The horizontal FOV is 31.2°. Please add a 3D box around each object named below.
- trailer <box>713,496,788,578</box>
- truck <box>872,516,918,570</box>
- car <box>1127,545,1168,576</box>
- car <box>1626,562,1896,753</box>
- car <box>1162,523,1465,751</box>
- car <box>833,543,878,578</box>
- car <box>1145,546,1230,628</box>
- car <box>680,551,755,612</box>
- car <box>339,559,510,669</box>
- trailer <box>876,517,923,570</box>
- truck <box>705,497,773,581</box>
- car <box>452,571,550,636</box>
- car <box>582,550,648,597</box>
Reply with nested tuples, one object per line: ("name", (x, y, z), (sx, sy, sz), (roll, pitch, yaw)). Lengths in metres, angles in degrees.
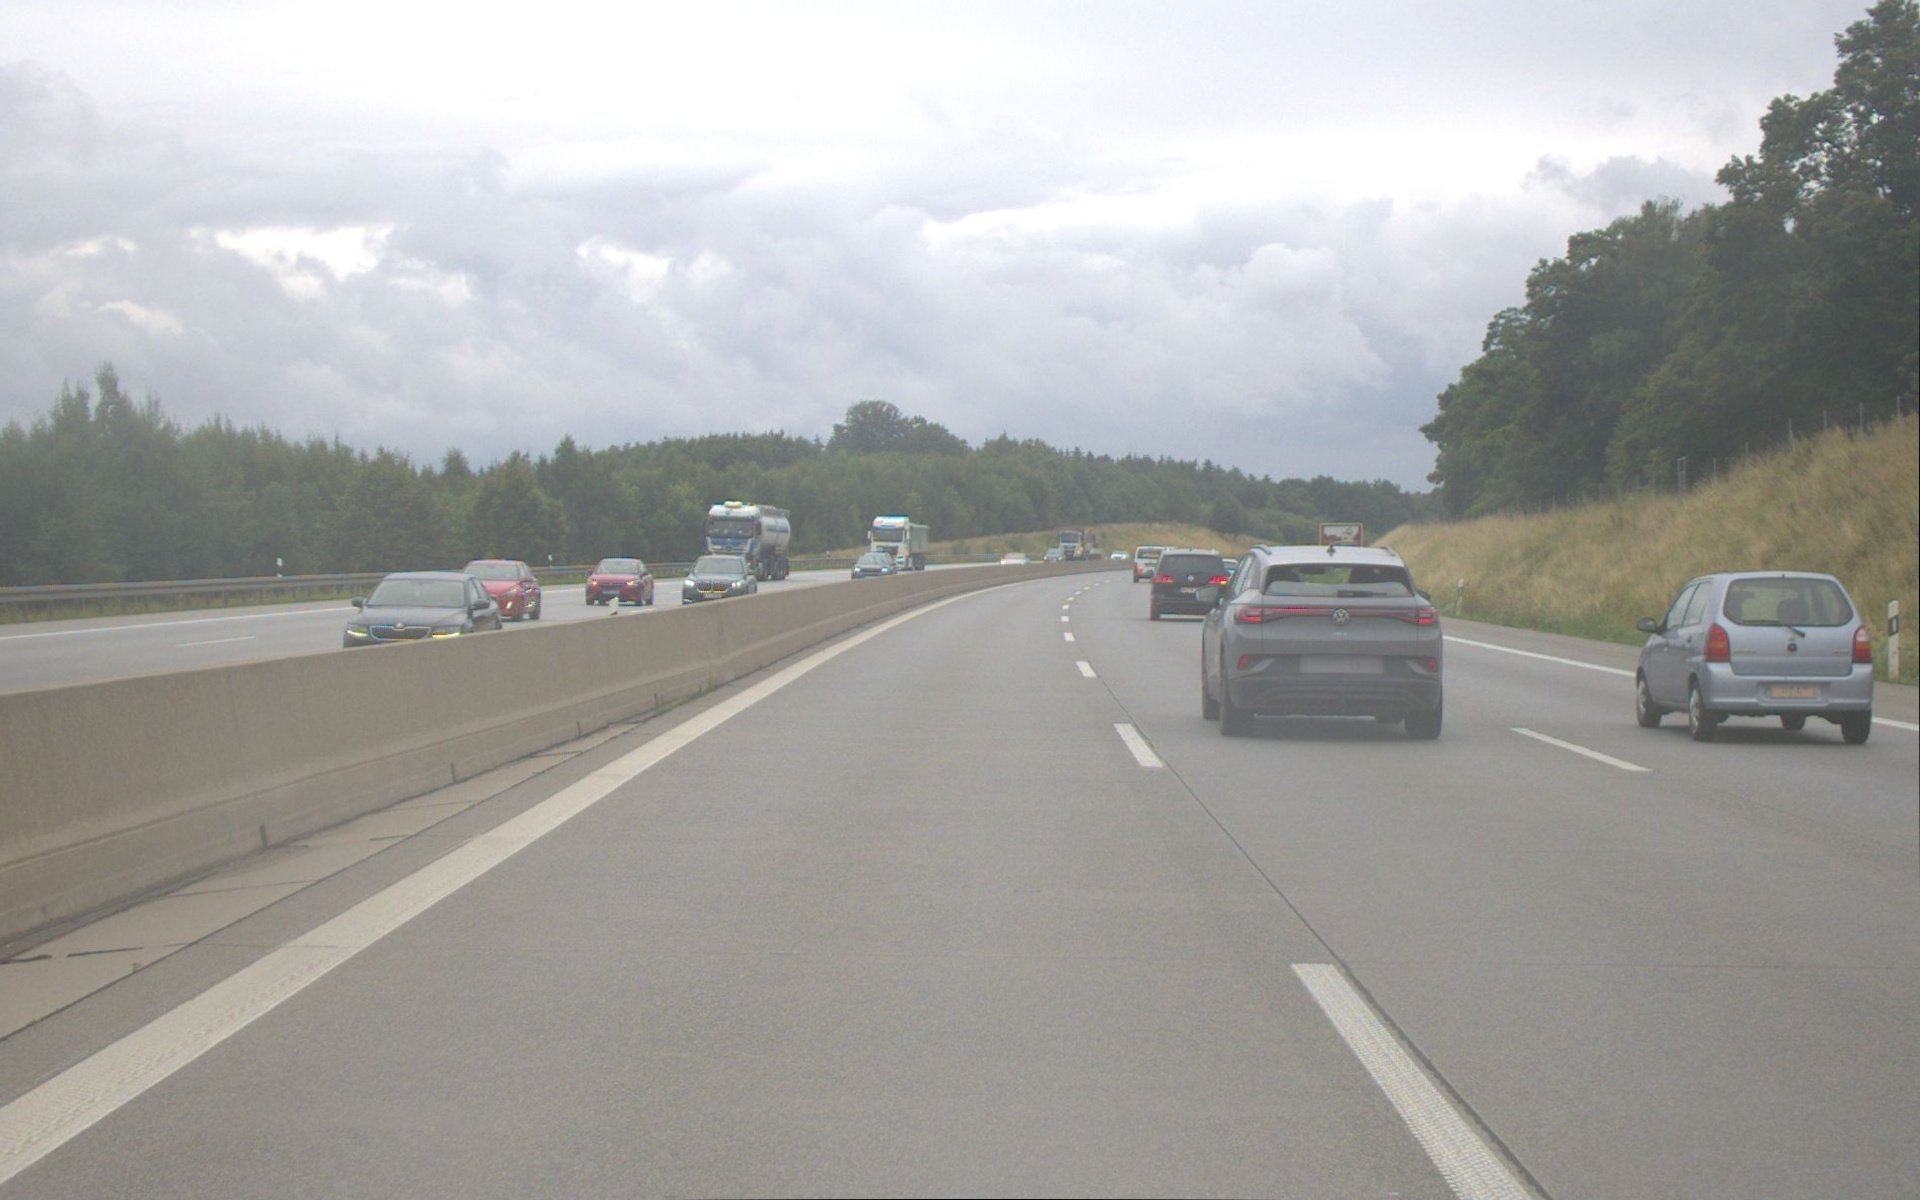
("trailer", (-10.819, -3.350, 178.595), (2.758, 3.984, 12.290), (1, 2, 2))
("truck", (-4.626, -4.039, 245.610), (2.751, 3.789, 5.530), (1, 0, 4))
("car", (10.164, -2.150, 186.168), (1.842, 1.495, 3.999), (-2, 2, 7))
("car", (6.894, 0.448, 29.888), (1.485, 1.465, 3.505), (0, 2, 0))
("car", (2.980, 0.239, 30.110), (1.898, 1.684, 5.267), (-2, 2, -2))
("car", (-4.727, -1.801, 155.768), (1.792, 1.412, 4.343), (1, 2, 1))
("car", (5.337, -0.336, 81.048), (1.785, 1.741, 3.915), (-2, 2, 2))
("car", (-6.958, -0.551, 99.030), (1.722, 1.582, 4.972), (-1, 2, 1))
("car", (-7.701, 0.173, 49.761), (1.772, 1.353, 4.367), (-2, 2, 0))
("trailer", (-4.375, -4.129, 250.200), (2.750, 3.787, 9.315), (1, 1, 3))
("truck", (-11.001, -3.106, 171.913), (2.747, 3.985, 6.930), (1, 2, 1))
("car", (-11.117, 0.094, 83.558), (1.718, 1.503, 4.487), (0, 0, 1))
("car", (-10.624, -0.844, 106.022), (1.518, 1.388, 4.487), (1, 1, 1))
